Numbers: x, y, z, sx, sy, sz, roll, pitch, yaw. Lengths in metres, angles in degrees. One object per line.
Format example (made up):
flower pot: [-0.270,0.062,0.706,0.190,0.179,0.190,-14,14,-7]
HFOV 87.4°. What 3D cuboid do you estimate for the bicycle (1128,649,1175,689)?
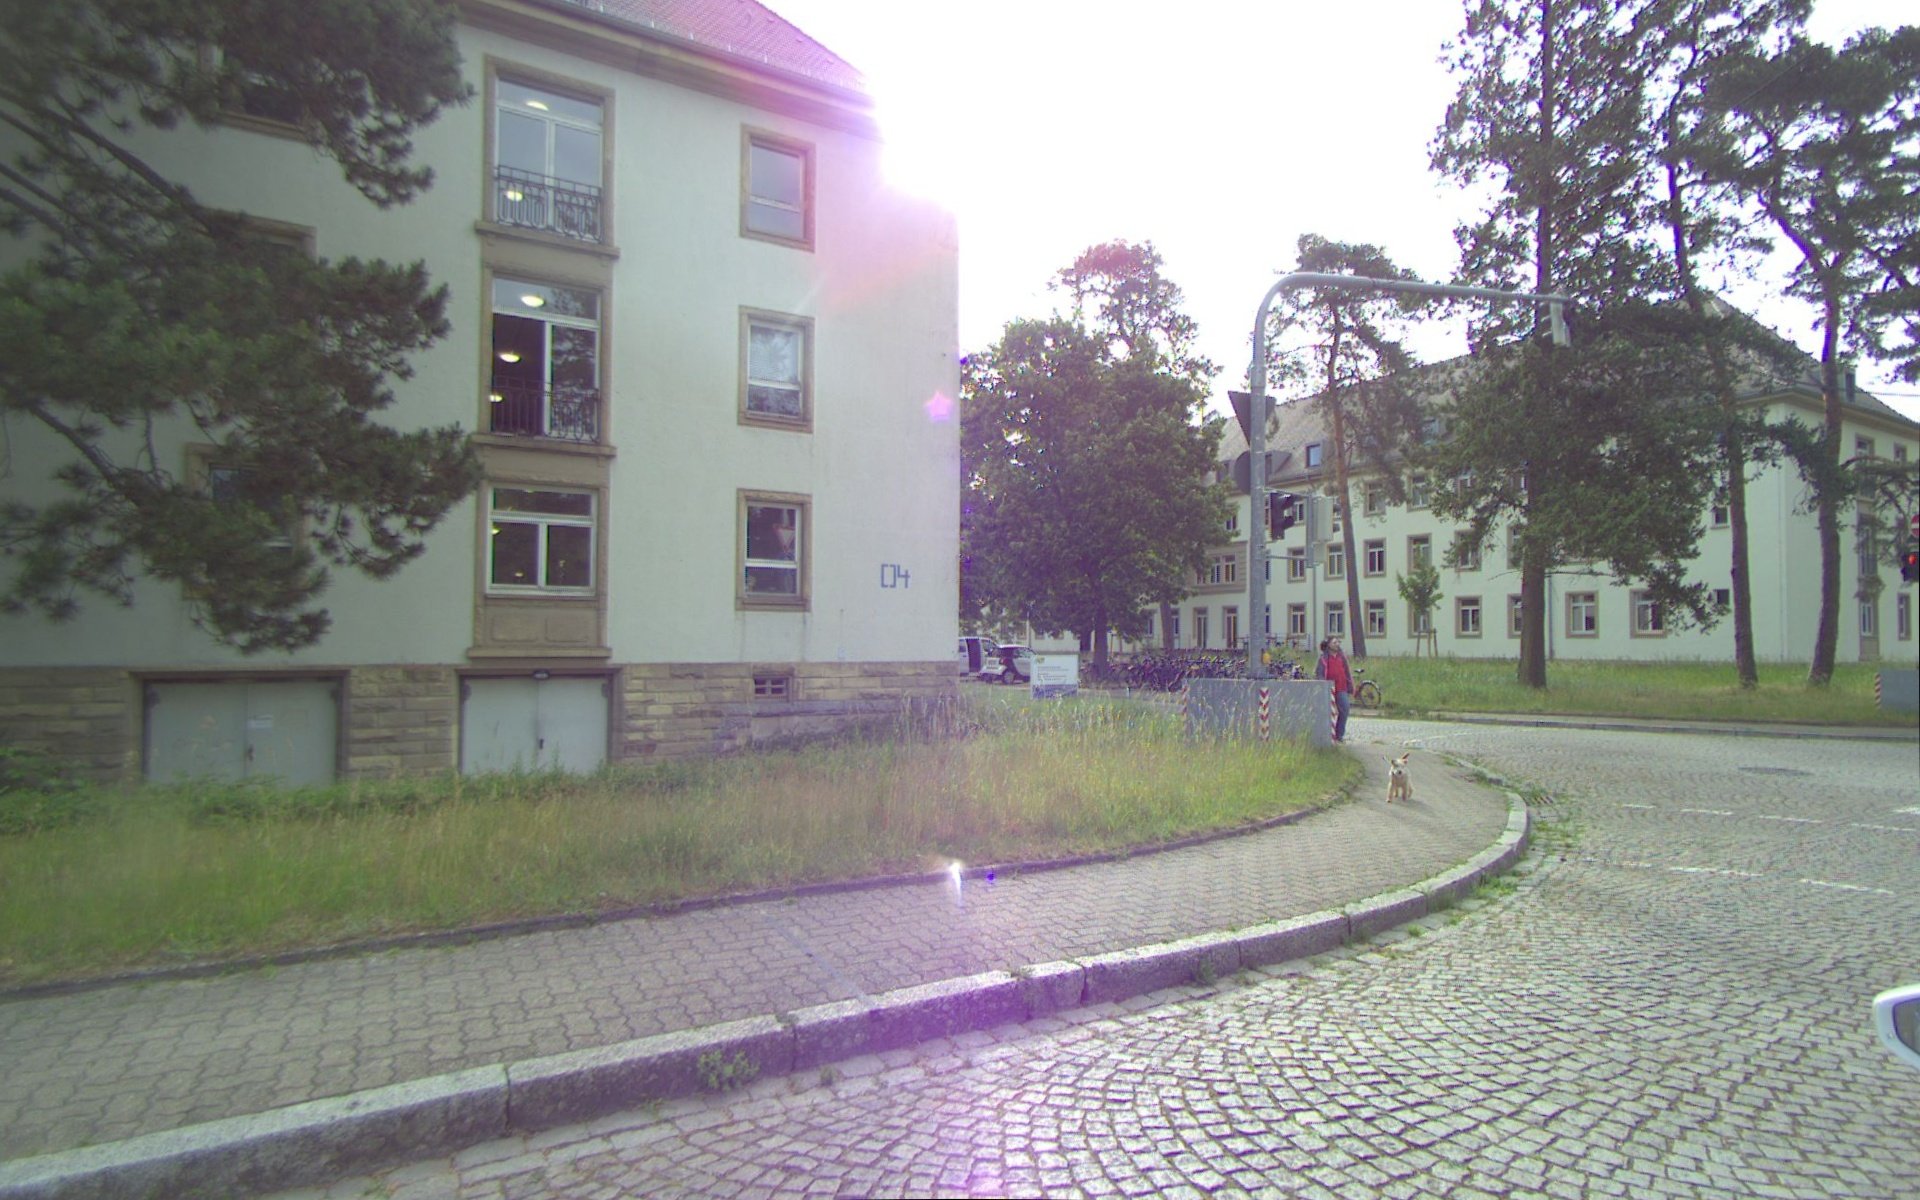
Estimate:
bicycle: [6.391,2.283,33.474,1.676,1.300,0.447,2,-3,-32]

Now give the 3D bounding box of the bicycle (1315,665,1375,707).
bicycle: [9.639,2.138,25.195,0.447,1.009,1.453,1,-3,-28]

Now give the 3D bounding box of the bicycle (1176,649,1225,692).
bicycle: [7.580,2.204,31.593,1.676,1.300,0.447,2,-3,-32]

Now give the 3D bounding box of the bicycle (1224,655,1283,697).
bicycle: [8.681,2.228,29.673,1.909,1.193,0.525,2,-3,-32]

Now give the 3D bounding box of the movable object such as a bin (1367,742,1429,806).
movable object such as a bin: [4.329,1.703,9.910,0.437,0.510,0.750,-1,-3,34]

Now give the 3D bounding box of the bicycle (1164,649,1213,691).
bicycle: [7.289,2.209,32.018,1.676,1.300,0.447,2,-3,-32]

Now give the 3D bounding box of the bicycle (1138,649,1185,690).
bicycle: [6.641,2.277,33.057,1.676,1.300,0.447,2,-3,-32]

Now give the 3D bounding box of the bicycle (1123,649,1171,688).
bicycle: [6.327,2.297,33.983,1.765,1.300,0.440,2,-3,-32]

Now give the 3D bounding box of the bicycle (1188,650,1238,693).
bicycle: [7.863,2.199,31.176,1.676,1.300,0.447,2,-3,-32]

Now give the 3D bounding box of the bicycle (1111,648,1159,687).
bicycle: [5.987,2.299,34.318,1.807,1.300,0.447,2,-3,-32]

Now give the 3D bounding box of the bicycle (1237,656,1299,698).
bicycle: [8.944,2.219,29.152,1.932,1.193,0.572,2,-3,-32]

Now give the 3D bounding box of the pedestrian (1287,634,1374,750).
pedestrian: [5.614,1.376,15.253,0.923,1.690,0.861,1,-2,-11]

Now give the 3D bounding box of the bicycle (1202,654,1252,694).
bicycle: [8.124,2.238,30.501,1.676,1.193,0.447,2,-3,-32]

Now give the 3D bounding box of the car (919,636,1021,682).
car: [0.441,2.538,43.610,4.087,1.932,1.831,2,-3,-30]

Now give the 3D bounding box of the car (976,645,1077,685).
car: [2.767,2.669,41.595,3.851,1.576,1.831,2,-3,-30]

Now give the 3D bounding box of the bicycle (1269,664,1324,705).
bicycle: [8.868,2.209,26.509,0.447,1.009,1.453,1,-3,-28]

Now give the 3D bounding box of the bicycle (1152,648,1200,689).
bicycle: [6.992,2.216,32.495,1.676,1.300,0.447,2,-3,-32]

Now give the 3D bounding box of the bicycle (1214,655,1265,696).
bicycle: [8.380,2.246,30.089,1.676,1.193,0.447,2,-3,-32]

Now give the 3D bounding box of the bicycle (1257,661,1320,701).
bicycle: [9.352,2.279,28.586,1.974,1.092,0.572,2,-3,-32]
